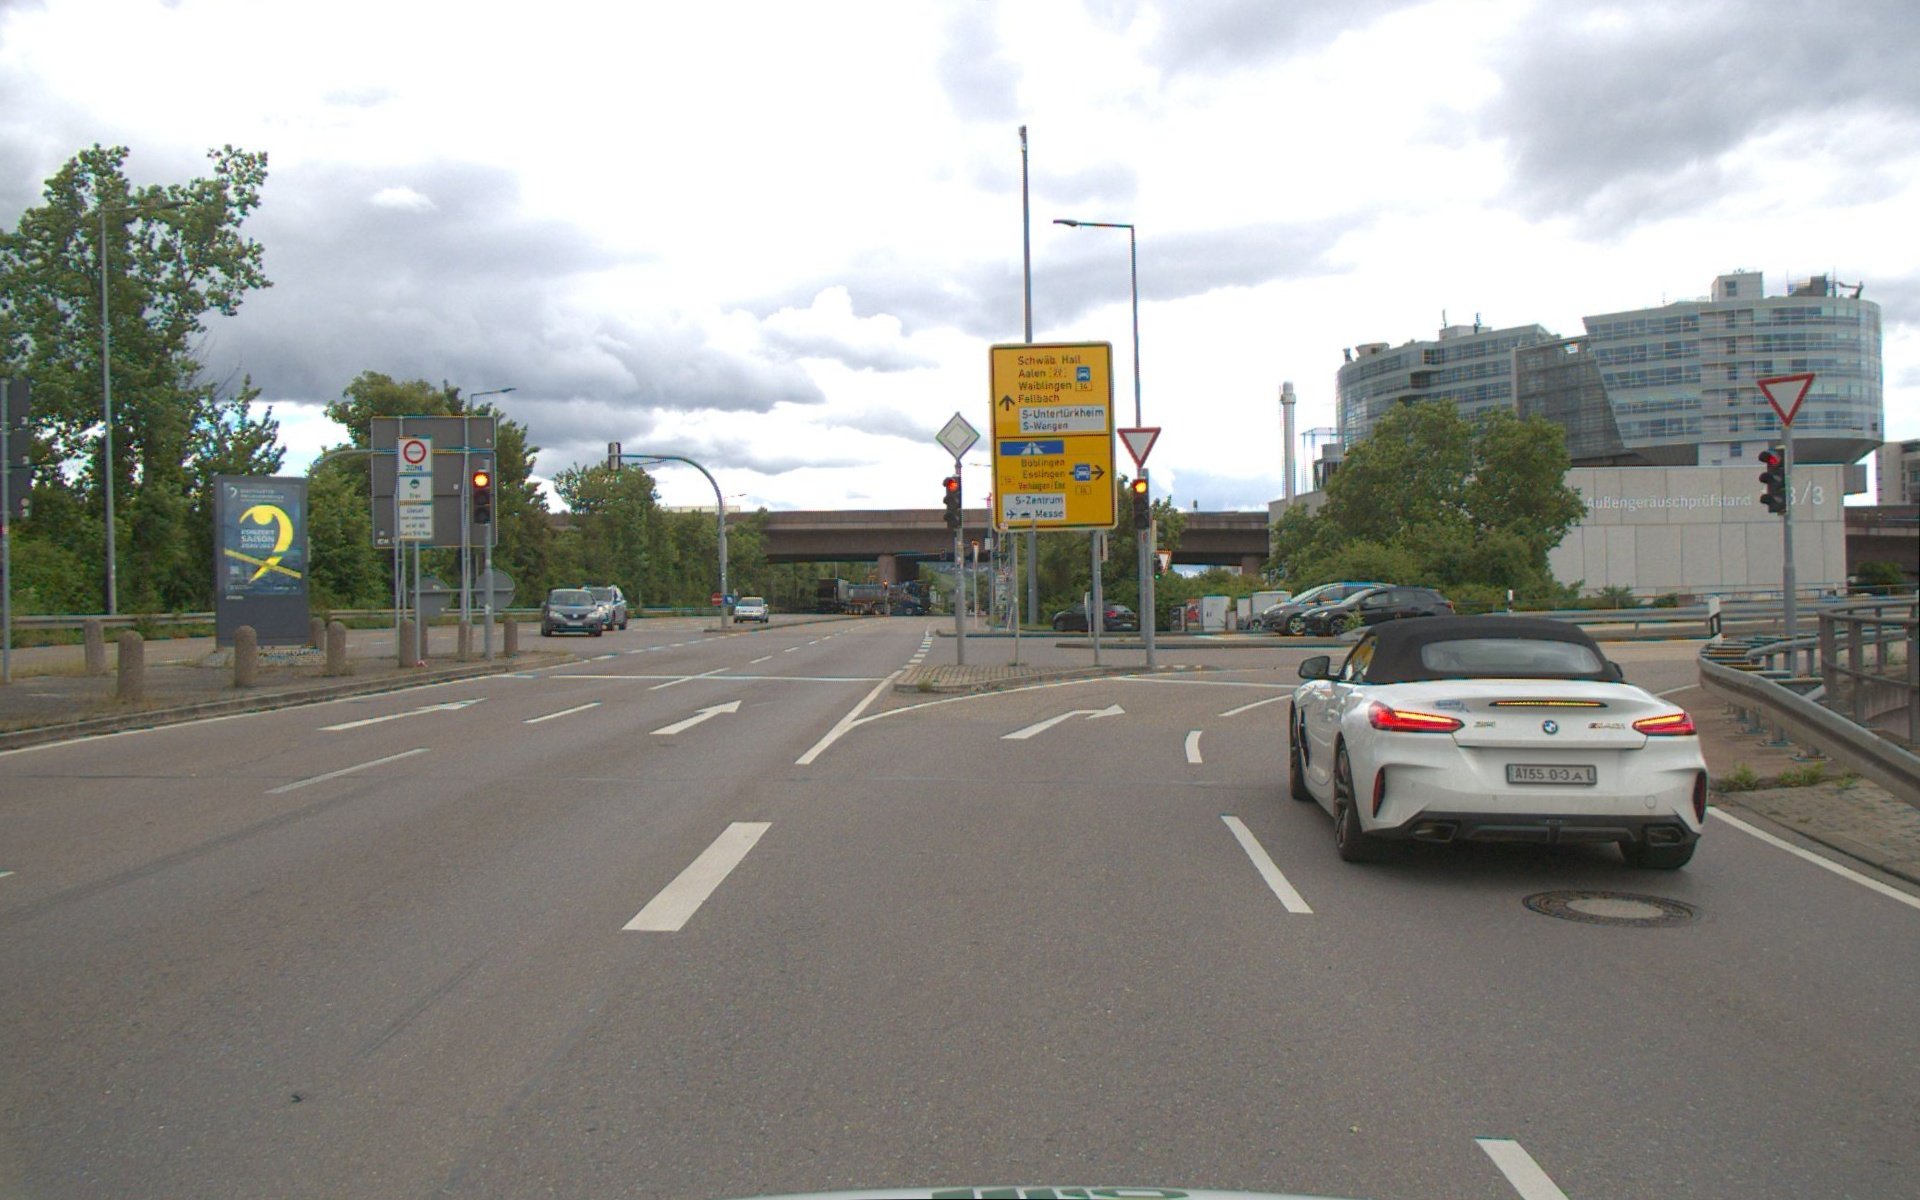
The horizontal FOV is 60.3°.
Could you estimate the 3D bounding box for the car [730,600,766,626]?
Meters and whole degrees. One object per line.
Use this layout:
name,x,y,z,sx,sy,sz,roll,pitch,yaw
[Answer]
car,-12.097,0.717,94.586,1.690,1.425,4.064,-1,0,-2

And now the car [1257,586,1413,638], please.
car,12.034,0.364,53.256,4.584,1.599,1.955,0,1,-3

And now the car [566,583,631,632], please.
car,-13.930,0.267,63.870,1.690,1.767,4.553,-1,0,-3

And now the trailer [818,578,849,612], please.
trailer,-16.261,-0.655,213.348,2.812,4.155,11.428,2,0,1

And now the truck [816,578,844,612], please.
truck,-16.374,-0.636,208.245,2.812,4.155,6.488,2,0,1

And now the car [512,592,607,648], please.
car,-12.708,0.674,52.330,1.707,1.487,4.198,4,-5,-31

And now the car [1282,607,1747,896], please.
car,3.078,0.733,10.103,1.767,1.314,4.266,1,0,5

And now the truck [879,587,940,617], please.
truck,-5.157,0.216,167.806,5.667,2.669,2.610,4,0,37

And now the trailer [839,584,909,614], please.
trailer,-8.968,-0.097,171.484,2.586,2.669,8.444,4,0,-41

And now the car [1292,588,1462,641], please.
car,12.360,0.406,49.199,4.516,1.482,1.953,0,1,-6

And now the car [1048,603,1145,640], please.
car,5.764,0.939,70.146,1.978,1.490,4.056,2,-2,-37
